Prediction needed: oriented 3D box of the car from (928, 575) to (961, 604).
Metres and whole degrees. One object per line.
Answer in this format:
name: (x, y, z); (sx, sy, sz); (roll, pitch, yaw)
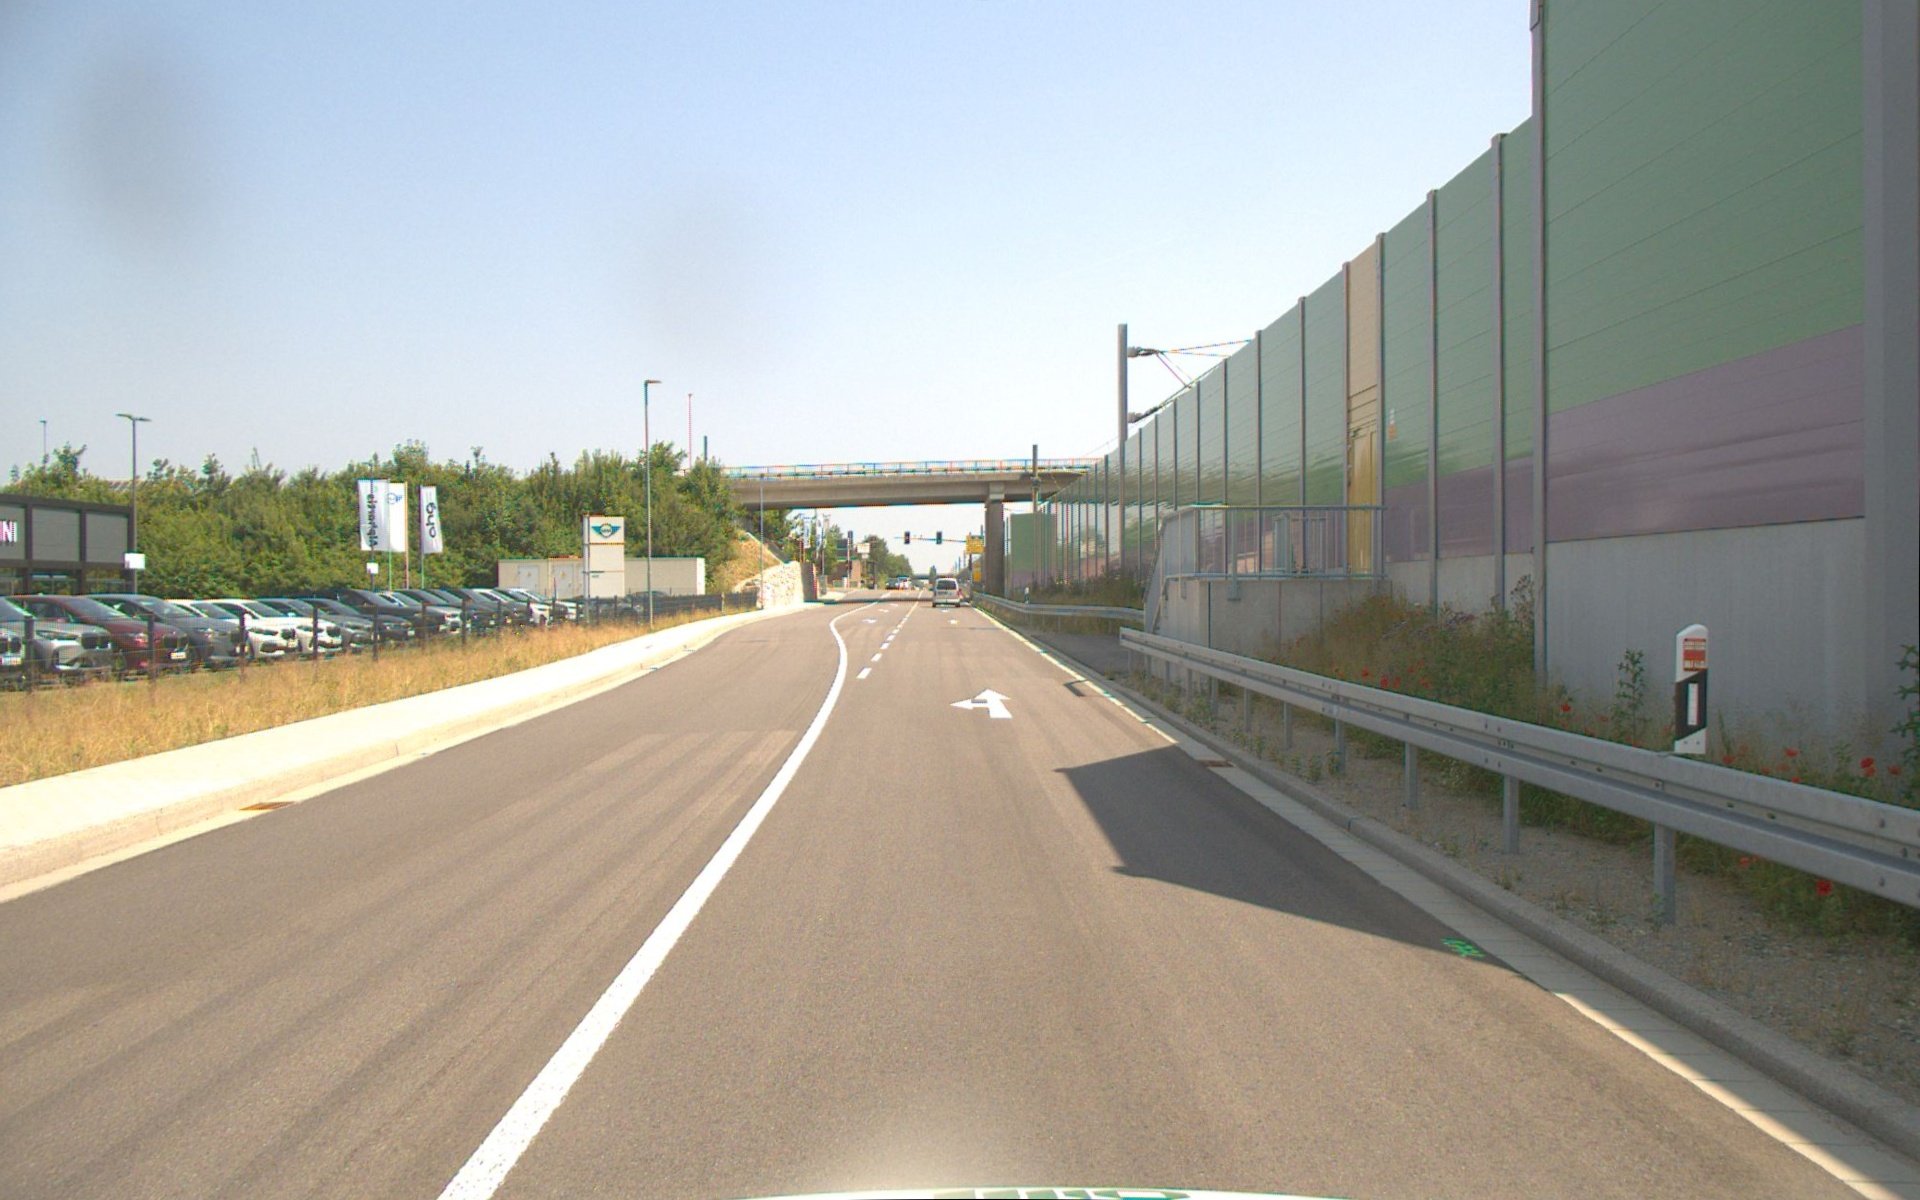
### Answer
car: (-0.954, -0.667, 104.858); (1.952, 1.788, 4.001); (0, 1, 1)

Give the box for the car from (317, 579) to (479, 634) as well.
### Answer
car: (-16.450, 0.172, 48.561); (4.079, 1.492, 1.815); (-1, 1, -1)

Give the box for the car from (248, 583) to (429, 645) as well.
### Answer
car: (-16.399, 0.357, 43.773); (4.079, 1.492, 1.815); (-1, 1, -1)

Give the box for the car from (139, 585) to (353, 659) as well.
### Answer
car: (-16.414, 0.490, 38.164); (4.079, 1.572, 1.815); (-1, 1, -1)

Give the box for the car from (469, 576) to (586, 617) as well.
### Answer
car: (-16.854, -0.156, 64.599); (4.079, 1.492, 1.815); (-1, 1, -1)

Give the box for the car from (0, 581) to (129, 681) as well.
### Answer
car: (-16.415, 0.525, 27.626); (4.079, 1.572, 1.815); (-1, 1, -1)

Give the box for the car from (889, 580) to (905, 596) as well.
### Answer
car: (-7.885, -1.556, 207.077); (1.953, 1.960, 3.999); (-1, 0, -1)

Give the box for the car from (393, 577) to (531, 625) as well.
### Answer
car: (-16.806, 0.013, 55.916); (4.079, 1.492, 1.815); (-1, 1, -1)

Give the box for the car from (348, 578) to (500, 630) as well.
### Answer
car: (-16.512, 0.116, 51.068); (4.079, 1.492, 1.815); (-1, 1, -1)

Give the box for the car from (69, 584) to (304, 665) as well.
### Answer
car: (-16.367, 0.497, 35.136); (4.079, 1.572, 1.815); (-1, 1, -1)

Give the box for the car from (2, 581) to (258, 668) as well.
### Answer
car: (-16.313, 0.463, 32.660); (4.079, 1.572, 1.815); (-1, 1, -1)

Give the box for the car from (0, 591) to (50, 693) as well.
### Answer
car: (-16.319, 0.673, 24.980); (4.079, 1.492, 1.815); (-1, 1, -1)

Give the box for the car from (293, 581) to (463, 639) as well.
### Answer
car: (-16.269, 0.274, 46.357); (4.079, 1.492, 1.815); (-1, 1, -1)

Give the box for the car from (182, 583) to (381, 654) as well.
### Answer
car: (-16.521, 0.434, 40.413); (4.079, 1.572, 1.815); (-1, 1, -1)

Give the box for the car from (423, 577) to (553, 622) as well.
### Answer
car: (-16.765, -0.029, 58.882); (4.079, 1.492, 1.815); (-1, 1, -1)

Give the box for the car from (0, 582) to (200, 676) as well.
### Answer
car: (-16.237, 0.512, 29.935); (4.079, 1.572, 1.815); (-1, 1, -1)
